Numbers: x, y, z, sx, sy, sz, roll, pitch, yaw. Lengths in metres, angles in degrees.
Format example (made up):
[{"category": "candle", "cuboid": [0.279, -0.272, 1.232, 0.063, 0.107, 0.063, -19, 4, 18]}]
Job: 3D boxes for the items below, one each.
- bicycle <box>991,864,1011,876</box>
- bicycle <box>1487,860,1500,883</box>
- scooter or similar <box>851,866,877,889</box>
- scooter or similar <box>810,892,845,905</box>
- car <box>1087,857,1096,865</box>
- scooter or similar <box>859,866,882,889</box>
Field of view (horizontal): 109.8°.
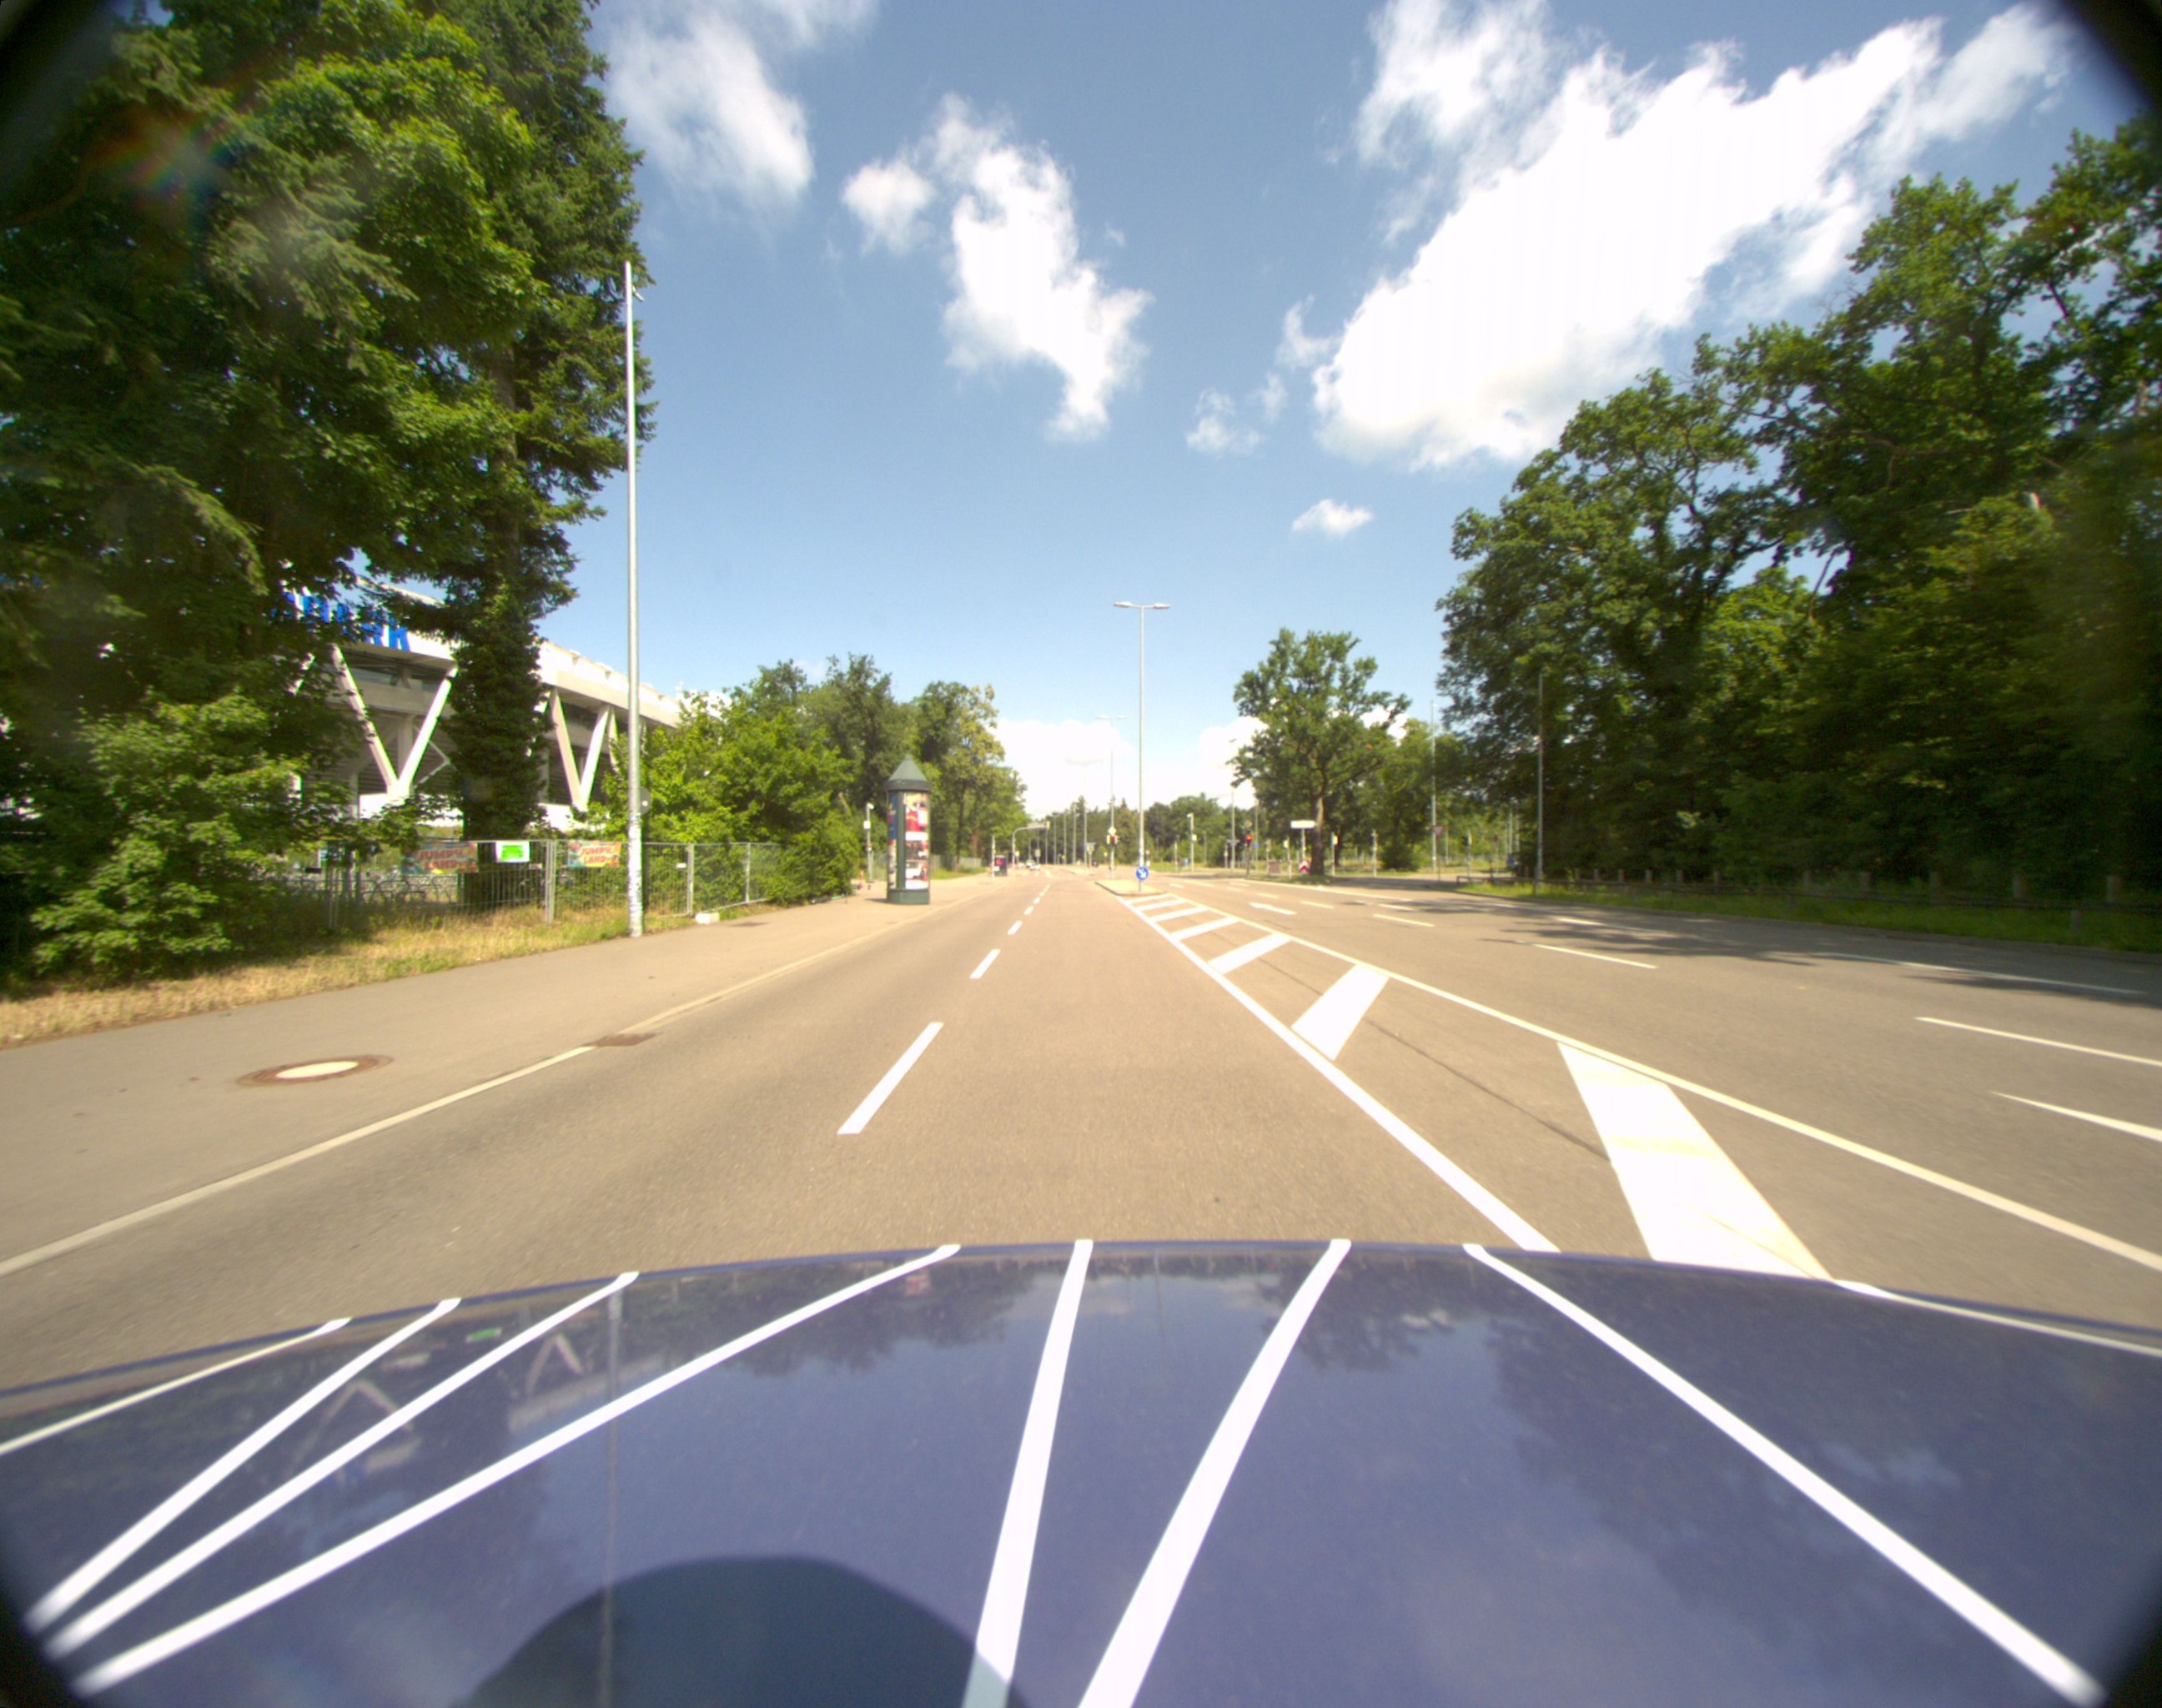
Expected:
[{"category": "bicycle", "cuboid": [-8.252, 1.609, 77.987, 0.881, 1.199, 1.901, -1, 0, 42]}, {"category": "bicycle", "cuboid": [21.897, 0.907, 40.302, 0.420, 1.166, 1.231, -1, 0, 20]}, {"category": "scooter or similar", "cuboid": [-11.627, 1.250, 40.728, 1.312, 1.245, 0.407, 0, 0, -8]}, {"category": "scooter or similar", "cuboid": [-9.189, 1.612, 27.617, 0.855, 0.386, 1.473, 1, 1, -3]}, {"category": "car", "cuboid": [2.335, 1.668, 170.278, 1.980, 1.754, 4.707, -1, -1, -1]}, {"category": "scooter or similar", "cuboid": [-11.257, 1.253, 40.663, 0.406, 1.193, 1.314, 1, -1, 25]}]
